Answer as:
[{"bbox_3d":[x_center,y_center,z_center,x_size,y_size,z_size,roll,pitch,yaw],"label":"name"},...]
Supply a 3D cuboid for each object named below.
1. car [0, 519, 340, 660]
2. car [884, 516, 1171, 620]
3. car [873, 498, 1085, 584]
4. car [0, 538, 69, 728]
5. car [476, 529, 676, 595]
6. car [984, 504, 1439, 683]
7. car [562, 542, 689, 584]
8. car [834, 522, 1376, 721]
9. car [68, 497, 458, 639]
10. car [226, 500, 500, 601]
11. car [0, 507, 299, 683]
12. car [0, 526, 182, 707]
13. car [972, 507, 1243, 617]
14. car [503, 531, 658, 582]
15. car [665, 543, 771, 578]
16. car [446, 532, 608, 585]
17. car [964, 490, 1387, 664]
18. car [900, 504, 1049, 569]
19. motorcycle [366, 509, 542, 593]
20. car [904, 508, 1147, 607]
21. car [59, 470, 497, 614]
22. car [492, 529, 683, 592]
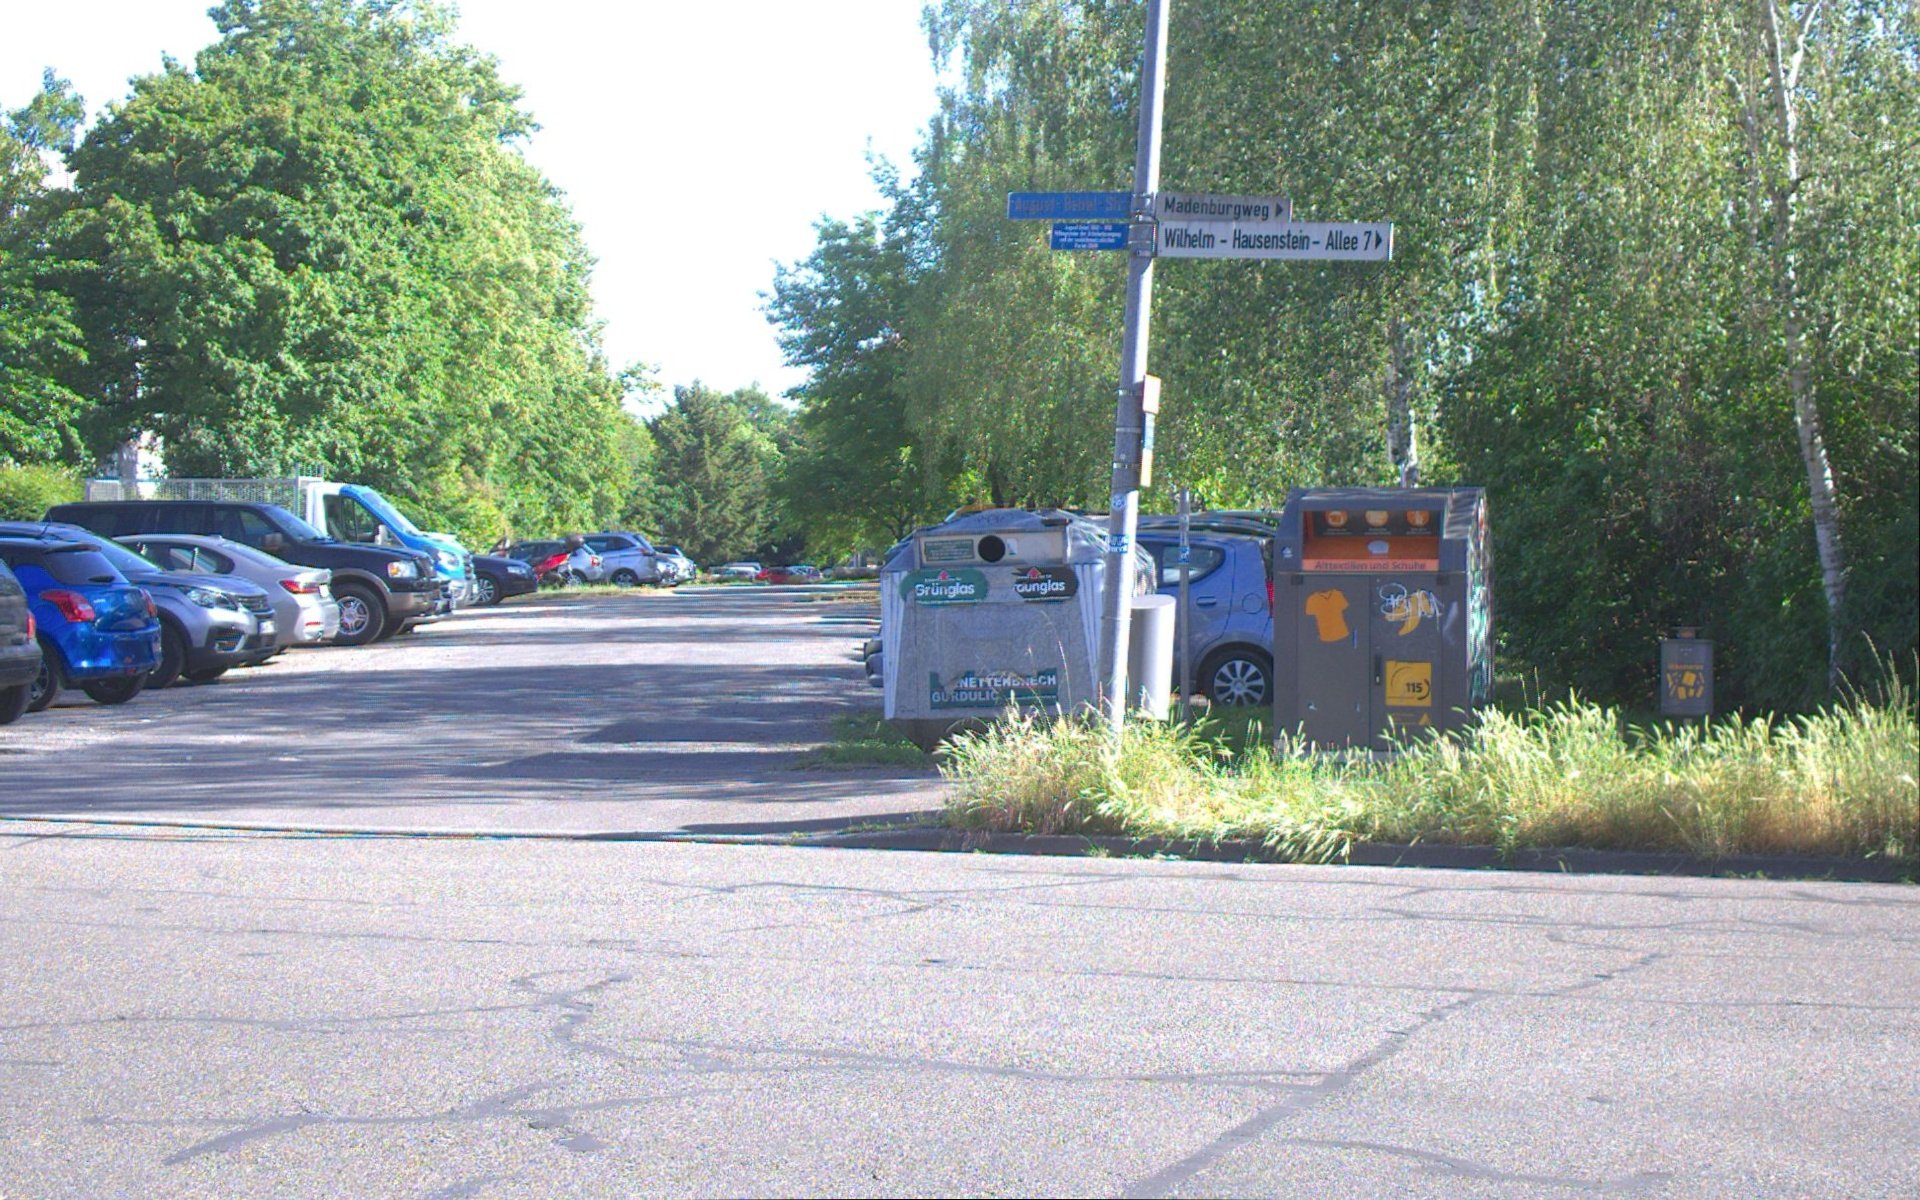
[{"bbox_3d":[-9.027,-0.119,37.795,4.143,1.450,1.619,-1,1,-3],"label":"car"},{"bbox_3d":[0.982,-0.452,48.807,3.987,1.396,1.797,1,1,3],"label":"car"},{"bbox_3d":[0.384,-1.123,66.058,3.987,1.580,1.797,1,1,3],"label":"car"},{"bbox_3d":[-9.089,0.239,27.288,3.525,1.461,1.702,1,2,16],"label":"car"},{"bbox_3d":[-7.891,-0.799,70.906,3.939,1.329,1.847,0,1,-1],"label":"car"},{"bbox_3d":[2.350,-0.078,32.769,4.052,1.597,1.791,1,2,-6],"label":"car"},{"bbox_3d":[-10.842,-1.204,111.604,3.939,1.329,1.847,0,1,-1],"label":"car"},{"bbox_3d":[1.176,0.142,27.286,4.055,1.434,1.634,1,1,13],"label":"car"},{"bbox_3d":[-8.825,-0.418,43.720,4.523,1.765,1.847,0,1,5],"label":"car"},{"bbox_3d":[-10.545,-0.884,60.955,4.522,1.765,1.847,0,1,1],"label":"car"},{"bbox_3d":[-9.188,-0.053,33.734,4.993,1.649,1.784,-1,1,5],"label":"car"},{"bbox_3d":[-8.820,0.133,29.797,3.682,1.491,1.650,-1,1,13],"label":"car"},{"bbox_3d":[2.226,-0.576,51.887,3.987,1.580,1.797,1,1,3],"label":"car"},{"bbox_3d":[-10.078,-1.168,91.538,3.939,1.329,1.847,0,1,-1],"label":"car"},{"bbox_3d":[-8.474,-1.378,120.664,3.644,1.208,1.847,0,1,-1],"label":"car"},{"bbox_3d":[-11.087,-1.078,88.166,3.939,1.329,1.847,0,1,-1],"label":"car"},{"bbox_3d":[2.196,-0.255,35.727,4.103,1.700,1.791,0,2,-7],"label":"car"},{"bbox_3d":[0.417,-1.744,94.614,3.987,1.702,1.797,1,1,3],"label":"car"},{"bbox_3d":[-9.571,-0.931,65.138,3.191,1.590,0.923,0,1,1],"label":"motorcycle"},{"bbox_3d":[1.113,-0.705,57.551,3.987,1.580,1.797,1,1,3],"label":"car"},{"bbox_3d":[-10.342,-0.900,52.562,6.255,2.139,2.411,0,1,-2],"label":"car"},{"bbox_3d":[-8.007,-0.858,74.116,3.939,1.329,1.847,0,1,-1],"label":"car"}]
